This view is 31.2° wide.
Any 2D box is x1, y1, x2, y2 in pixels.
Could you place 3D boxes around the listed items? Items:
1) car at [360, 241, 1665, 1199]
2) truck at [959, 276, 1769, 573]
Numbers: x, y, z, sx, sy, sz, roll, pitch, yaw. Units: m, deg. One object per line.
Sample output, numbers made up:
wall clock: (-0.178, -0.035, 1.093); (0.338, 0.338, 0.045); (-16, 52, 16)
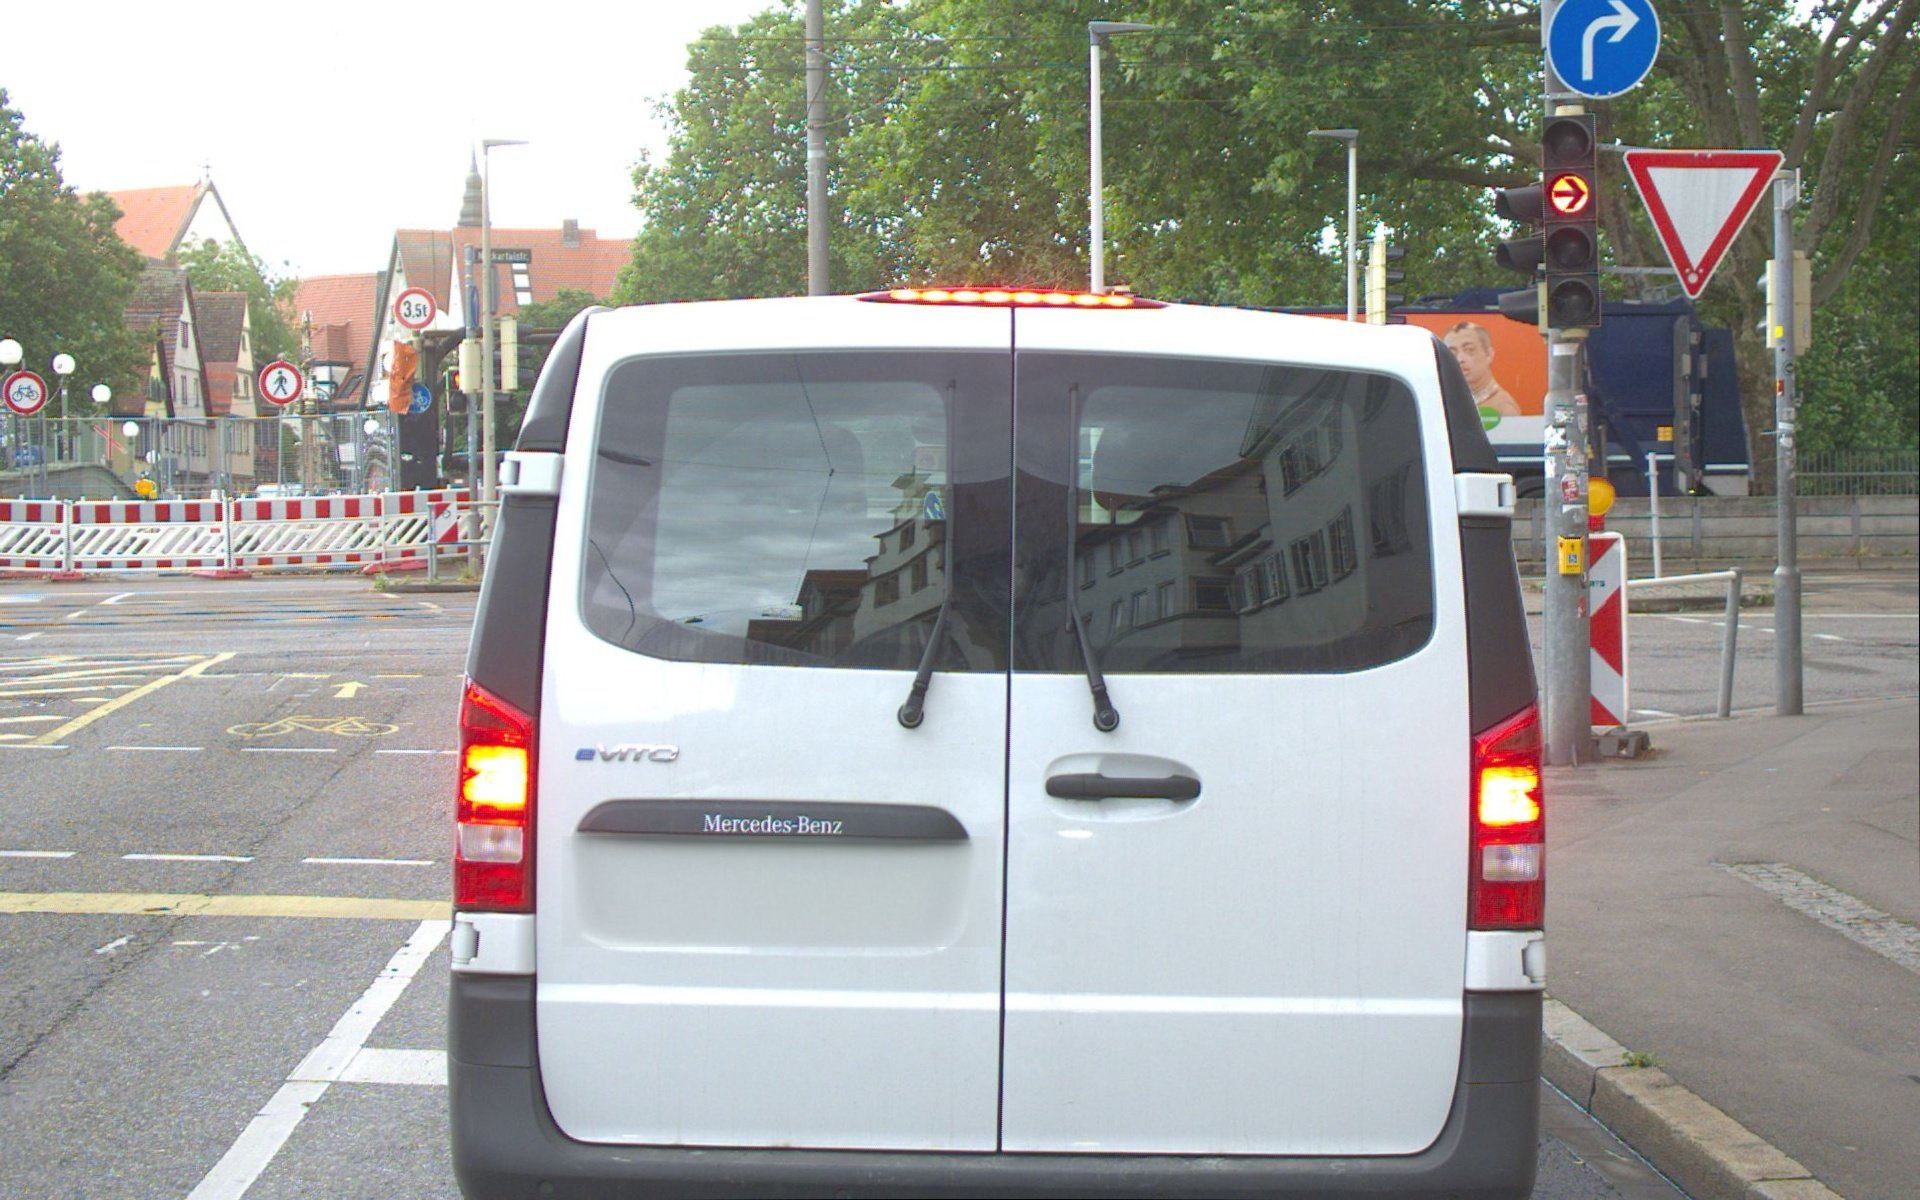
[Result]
car: (-0.022, 0.318, 7.420); (1.993, 1.916, 4.250); (1, 3, -3)
truck: (5.204, -2.227, 44.552); (10.182, 3.683, 2.272); (0, 1, -9)
